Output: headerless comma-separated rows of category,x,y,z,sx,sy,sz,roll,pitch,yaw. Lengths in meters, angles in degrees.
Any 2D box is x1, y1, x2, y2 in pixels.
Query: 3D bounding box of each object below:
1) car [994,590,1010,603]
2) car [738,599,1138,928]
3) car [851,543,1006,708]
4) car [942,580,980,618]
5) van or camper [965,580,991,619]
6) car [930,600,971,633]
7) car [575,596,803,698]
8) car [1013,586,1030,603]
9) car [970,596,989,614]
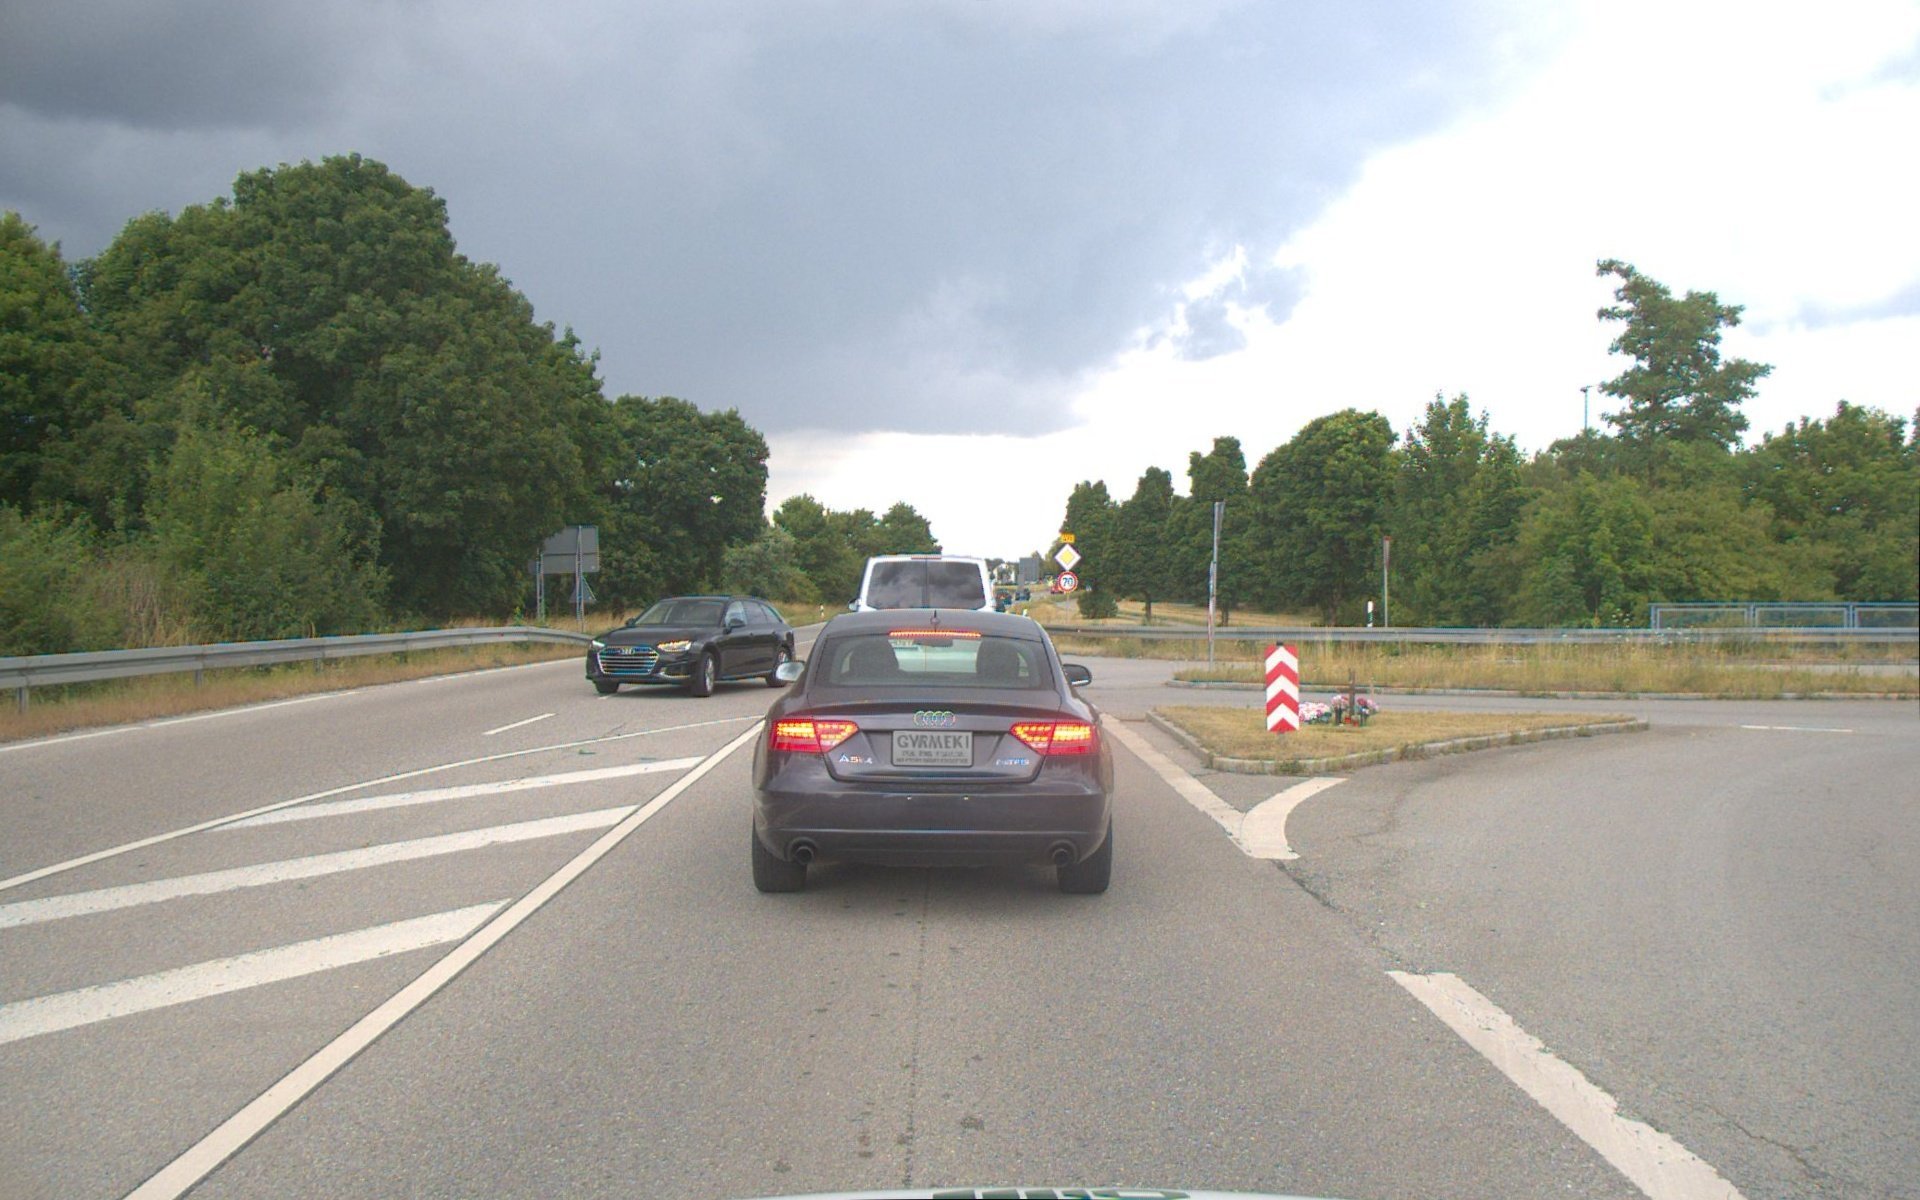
car,4.706,-0.425,185.817,1.683,1.477,4.000,1,0,0
car,-0.123,0.722,9.296,1.746,1.400,3.999,1,0,-1
car,-0.400,0.286,21.428,1.801,1.915,3.999,1,0,-1
car,0.072,-0.058,92.677,1.952,2.125,4.001,0,0,2
van or camper,1.698,-0.055,151.019,2.292,3.542,5.719,0,0,1
car,-0.438,0.767,78.627,1.758,1.489,3.249,0,0,3
car,-4.013,0.642,25.337,1.781,1.398,4.615,0,0,14
car,7.863,-0.711,212.971,1.953,2.049,3.999,0,0,-1
car,1.593,0.397,133.884,1.231,1.377,3.468,0,0,5
